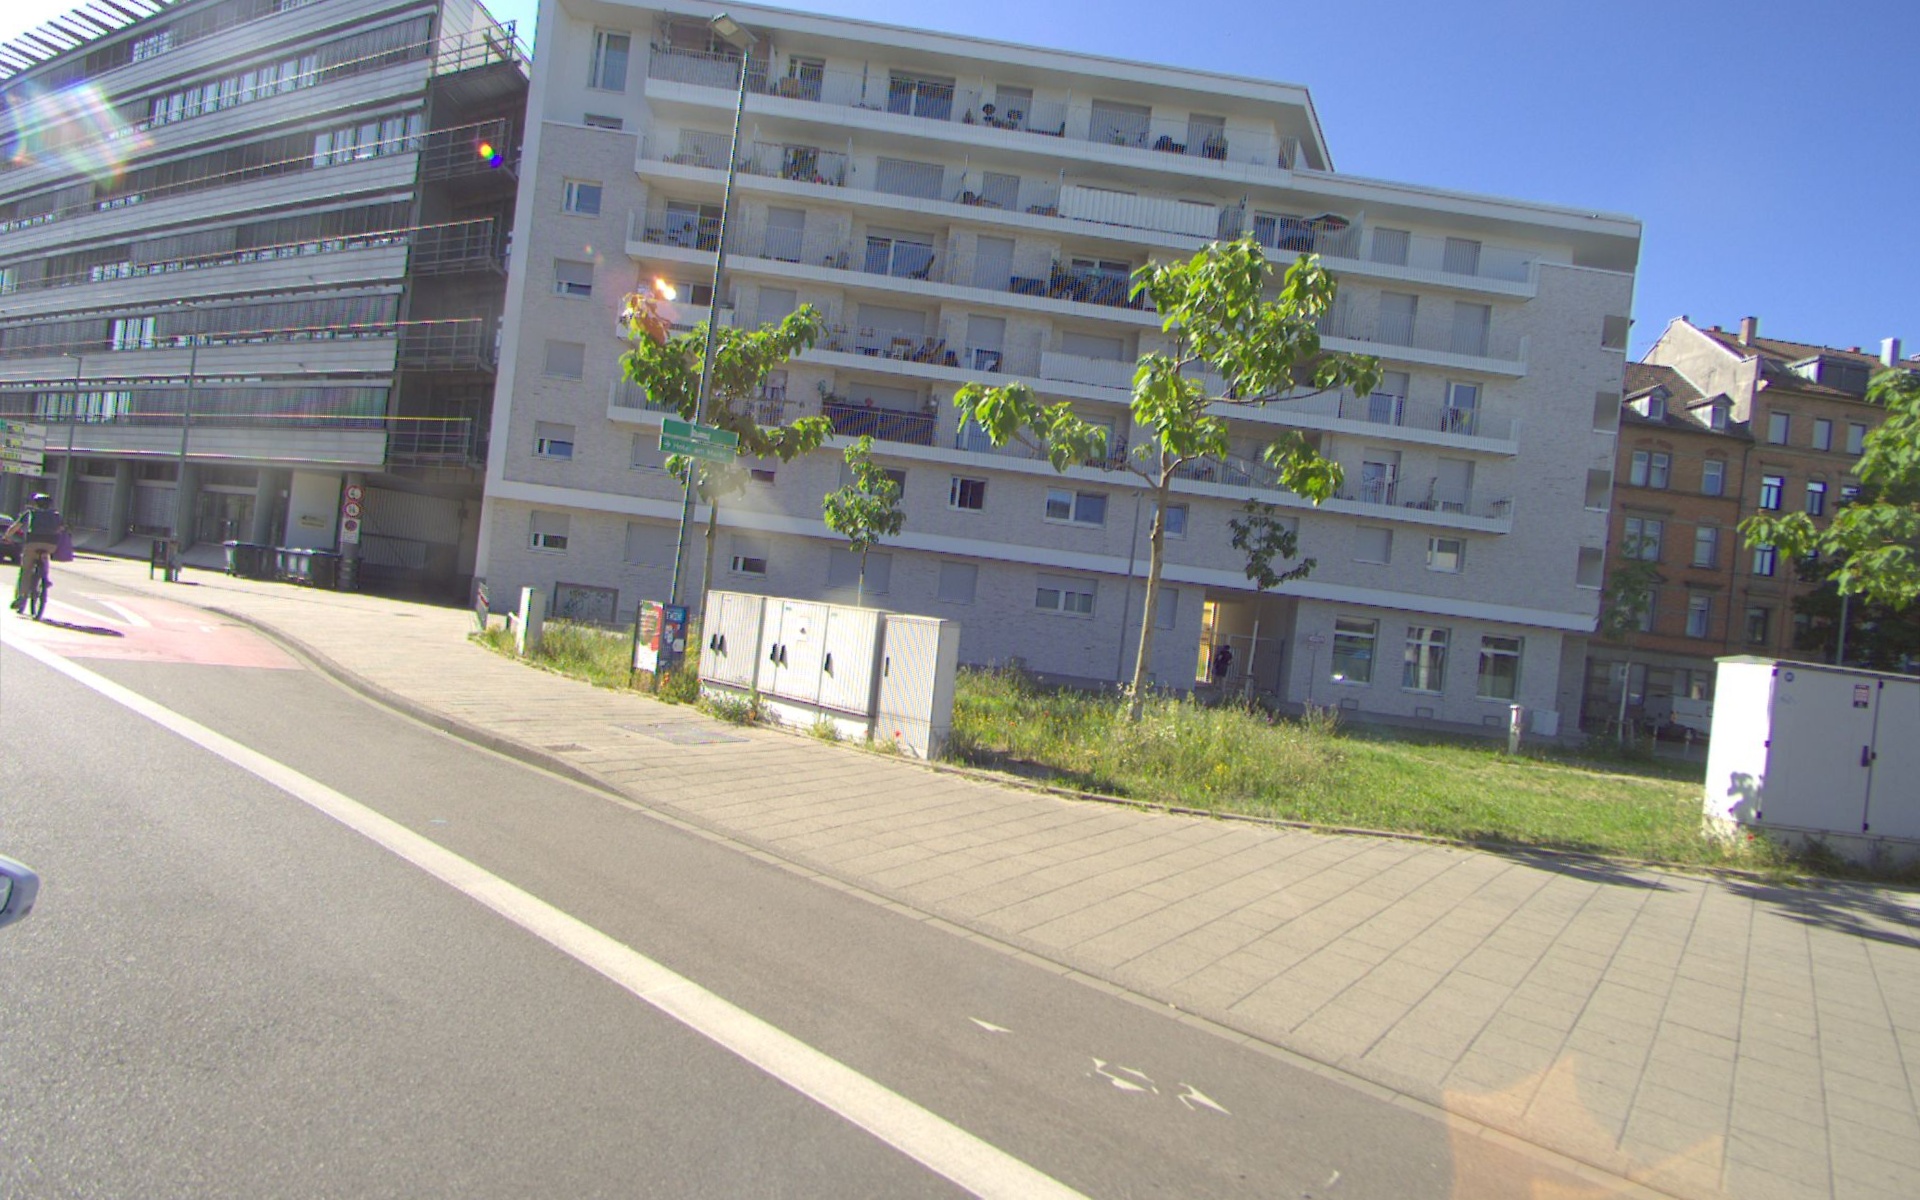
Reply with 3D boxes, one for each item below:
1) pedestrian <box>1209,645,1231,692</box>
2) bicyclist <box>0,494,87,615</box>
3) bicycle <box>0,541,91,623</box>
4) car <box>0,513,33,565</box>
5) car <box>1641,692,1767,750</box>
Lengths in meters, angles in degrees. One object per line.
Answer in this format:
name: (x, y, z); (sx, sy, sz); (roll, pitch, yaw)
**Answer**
pedestrian: (9.487, 2.489, 36.664); (0.513, 1.668, 0.471); (6, 0, 1)
bicyclist: (-14.128, -0.701, 15.413); (1.036, 1.712, 0.806); (6, -2, 40)
bicycle: (-14.191, -0.285, 15.508); (1.865, 1.048, 0.825); (5, -3, 40)
car: (-32.037, -2.138, 32.755); (4.330, 1.542, 1.723); (6, -2, 35)
car: (36.212, 5.893, 49.031); (4.557, 2.138, 2.000); (7, -1, -2)
